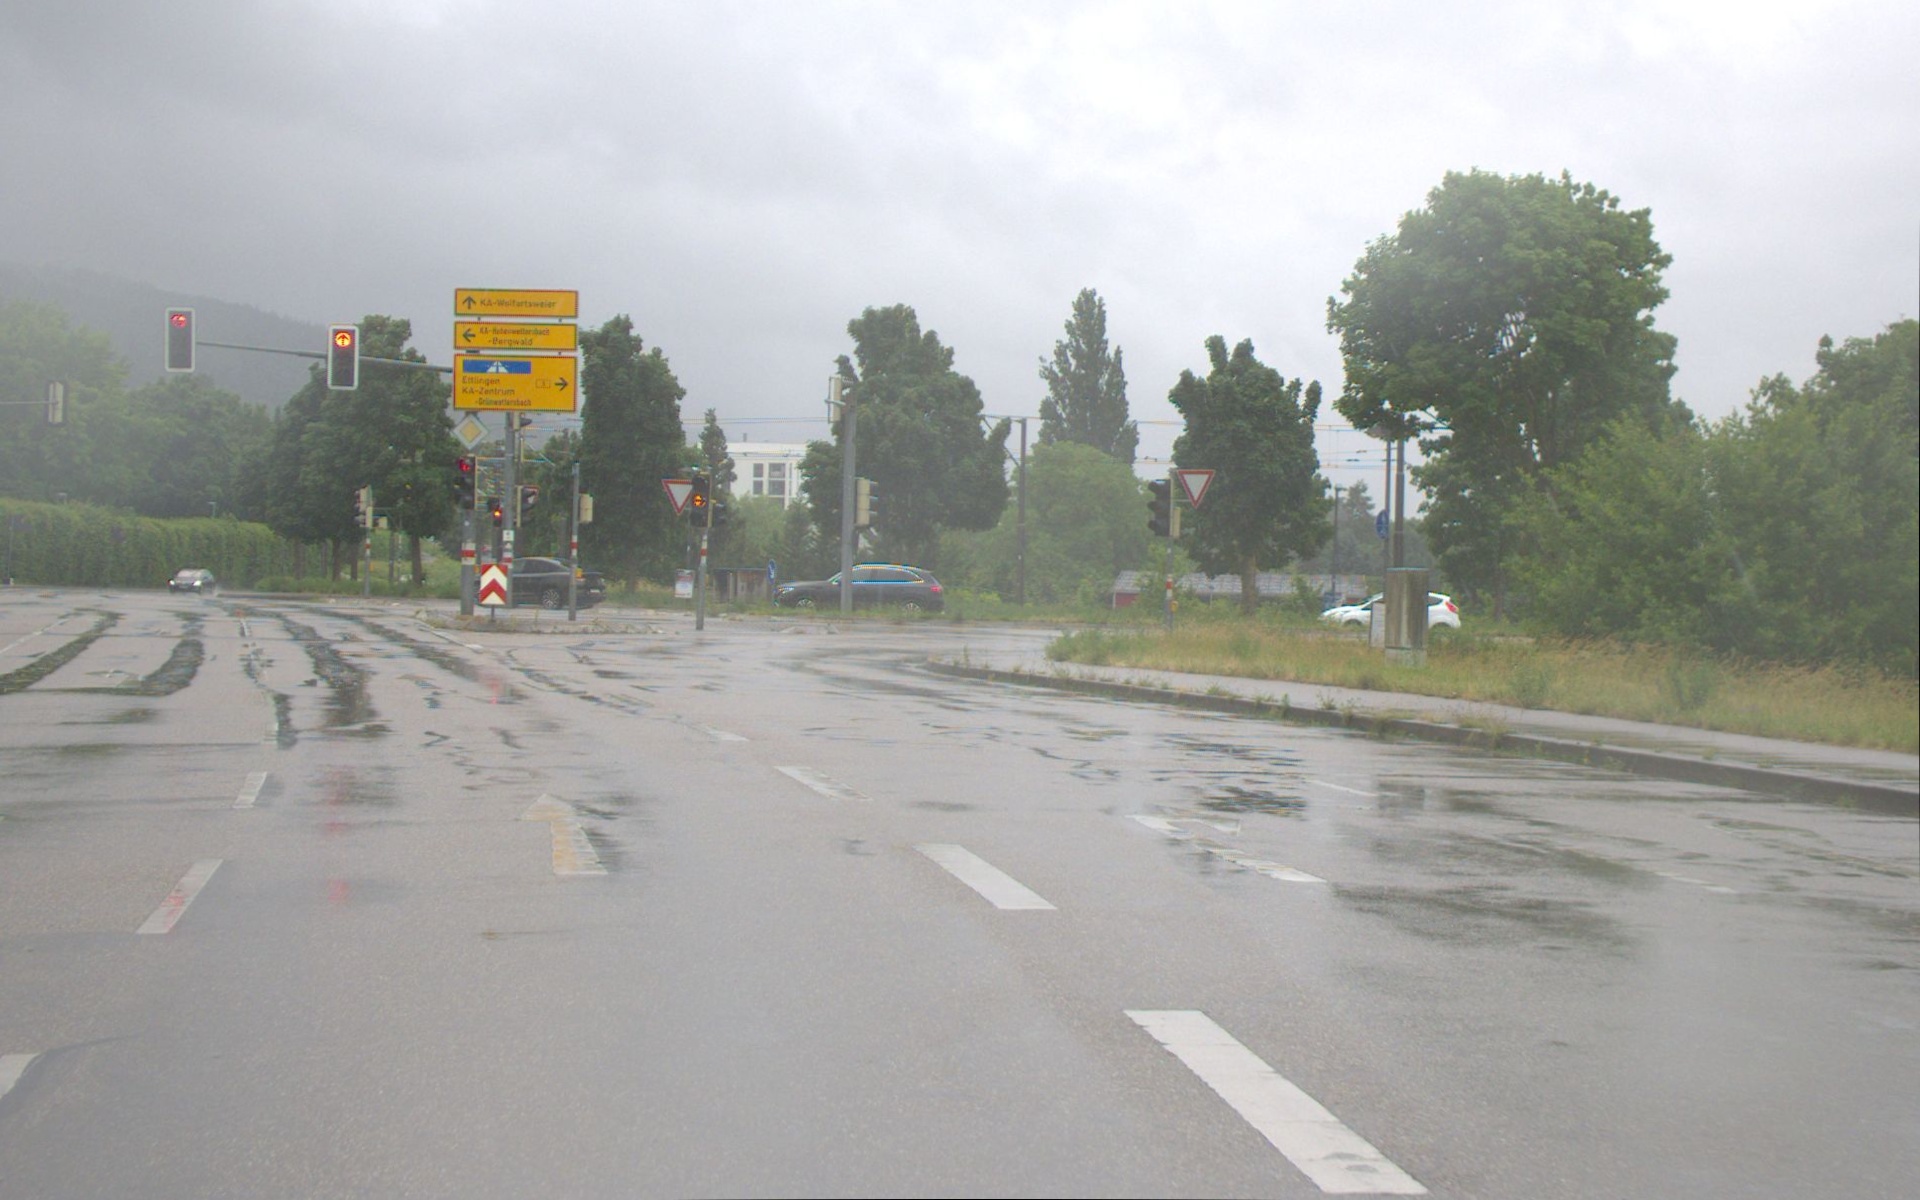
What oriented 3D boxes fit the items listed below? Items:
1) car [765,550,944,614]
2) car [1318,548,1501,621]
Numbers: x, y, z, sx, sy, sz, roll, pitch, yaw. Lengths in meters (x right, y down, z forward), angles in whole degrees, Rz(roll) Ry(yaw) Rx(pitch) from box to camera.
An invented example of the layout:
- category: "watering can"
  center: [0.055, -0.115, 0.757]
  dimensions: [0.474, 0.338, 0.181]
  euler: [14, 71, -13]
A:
- category: "car"
  center: [-2.887, -0.497, 93.740]
  dimensions: [4.668, 1.633, 1.823]
  euler: [1, 1, -9]
- category: "car"
  center: [12.454, -0.427, 95.465]
  dimensions: [4.668, 1.909, 1.916]
  euler: [1, 1, -6]
